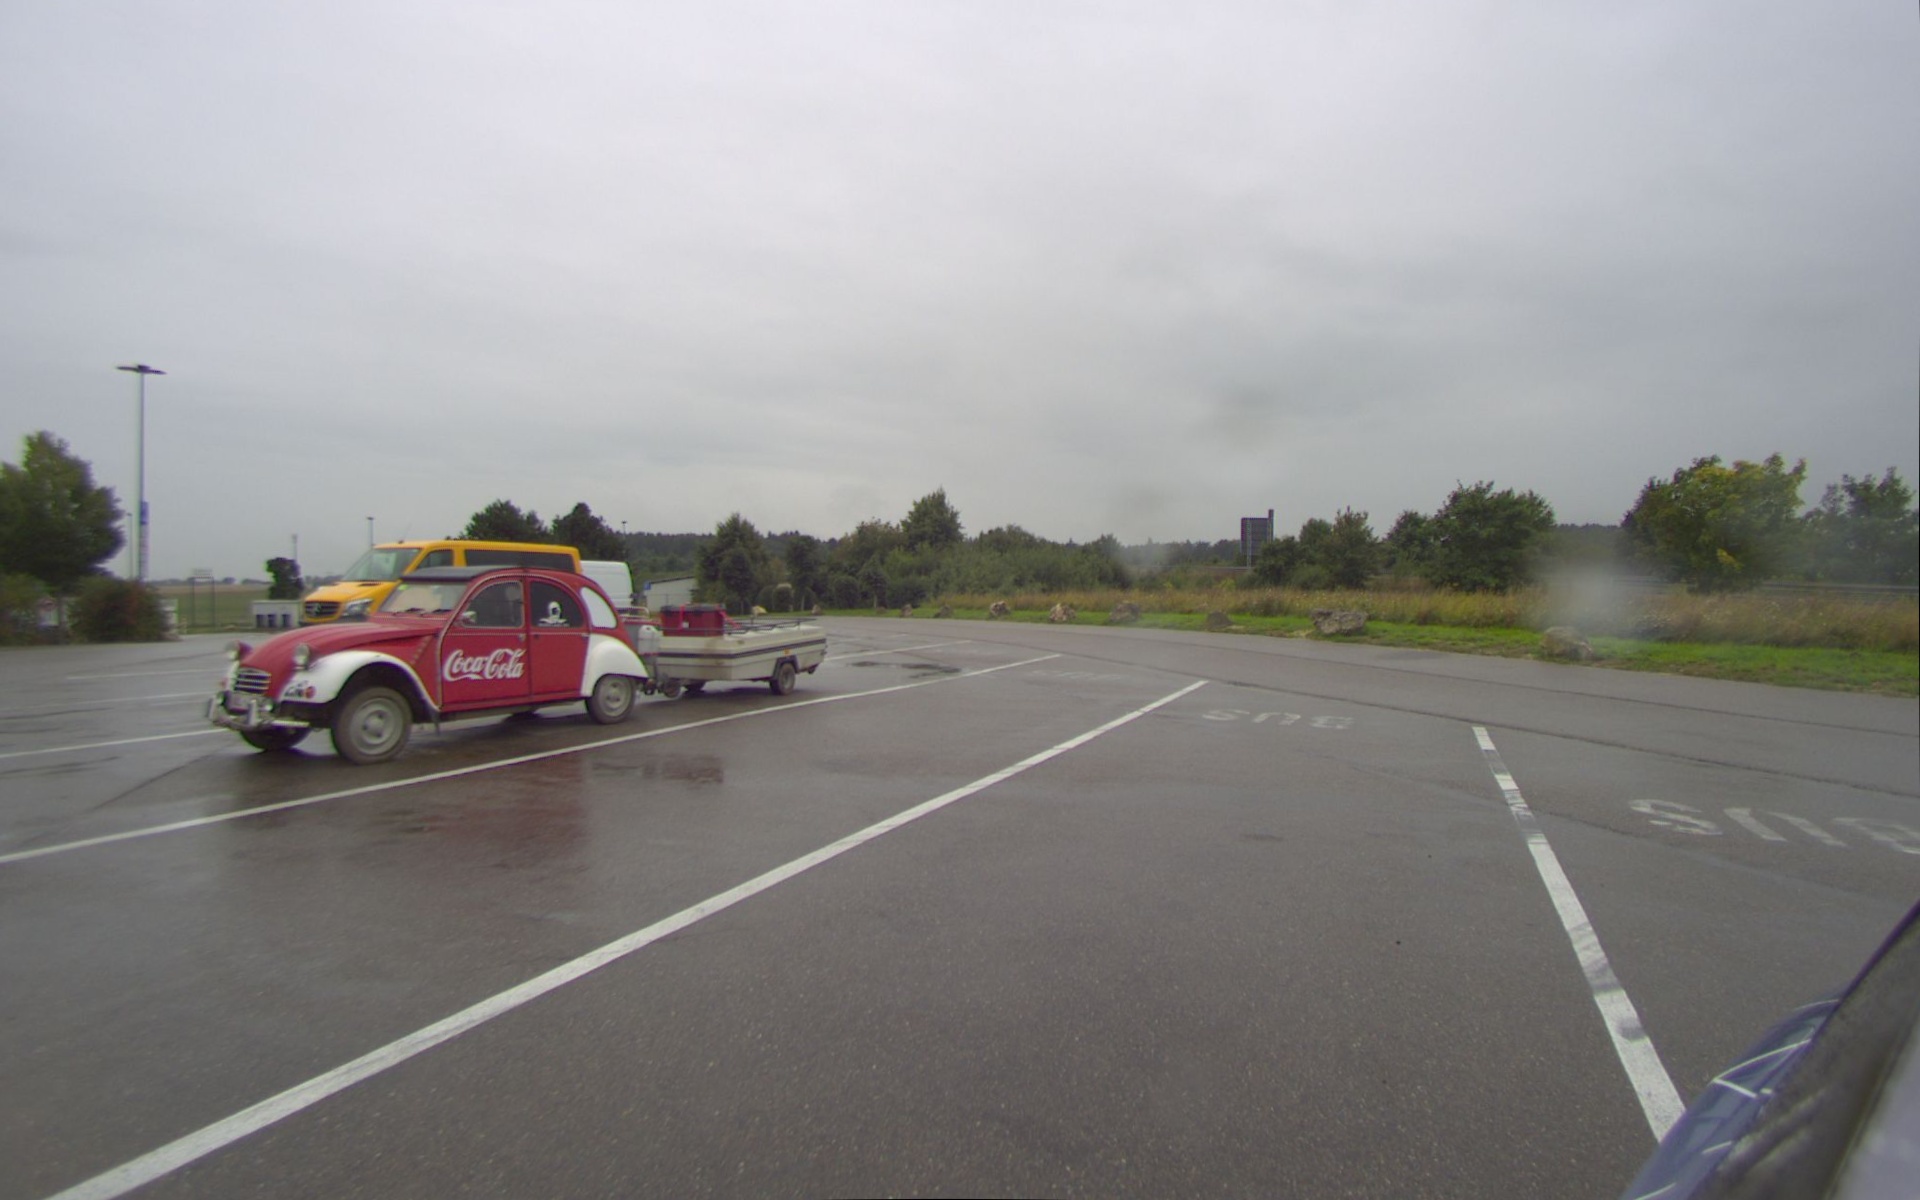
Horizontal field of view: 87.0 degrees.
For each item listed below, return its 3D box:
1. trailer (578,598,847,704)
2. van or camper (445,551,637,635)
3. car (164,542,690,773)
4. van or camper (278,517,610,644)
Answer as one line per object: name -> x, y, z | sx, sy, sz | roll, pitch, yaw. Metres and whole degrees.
trailer -> -2.863, 0.524, 12.219 | 1.574, 1.081, 3.000 | 0, 0, 28
van or camper -> -15.103, -0.306, 37.120 | 1.979, 2.749, 7.008 | 3, 2, 25
car -> -4.395, 0.344, 9.032 | 1.535, 1.575, 4.017 | 1, 1, 28
van or camper -> -10.569, -0.429, 21.504 | 2.112, 2.274, 6.363 | 1, 1, 25
